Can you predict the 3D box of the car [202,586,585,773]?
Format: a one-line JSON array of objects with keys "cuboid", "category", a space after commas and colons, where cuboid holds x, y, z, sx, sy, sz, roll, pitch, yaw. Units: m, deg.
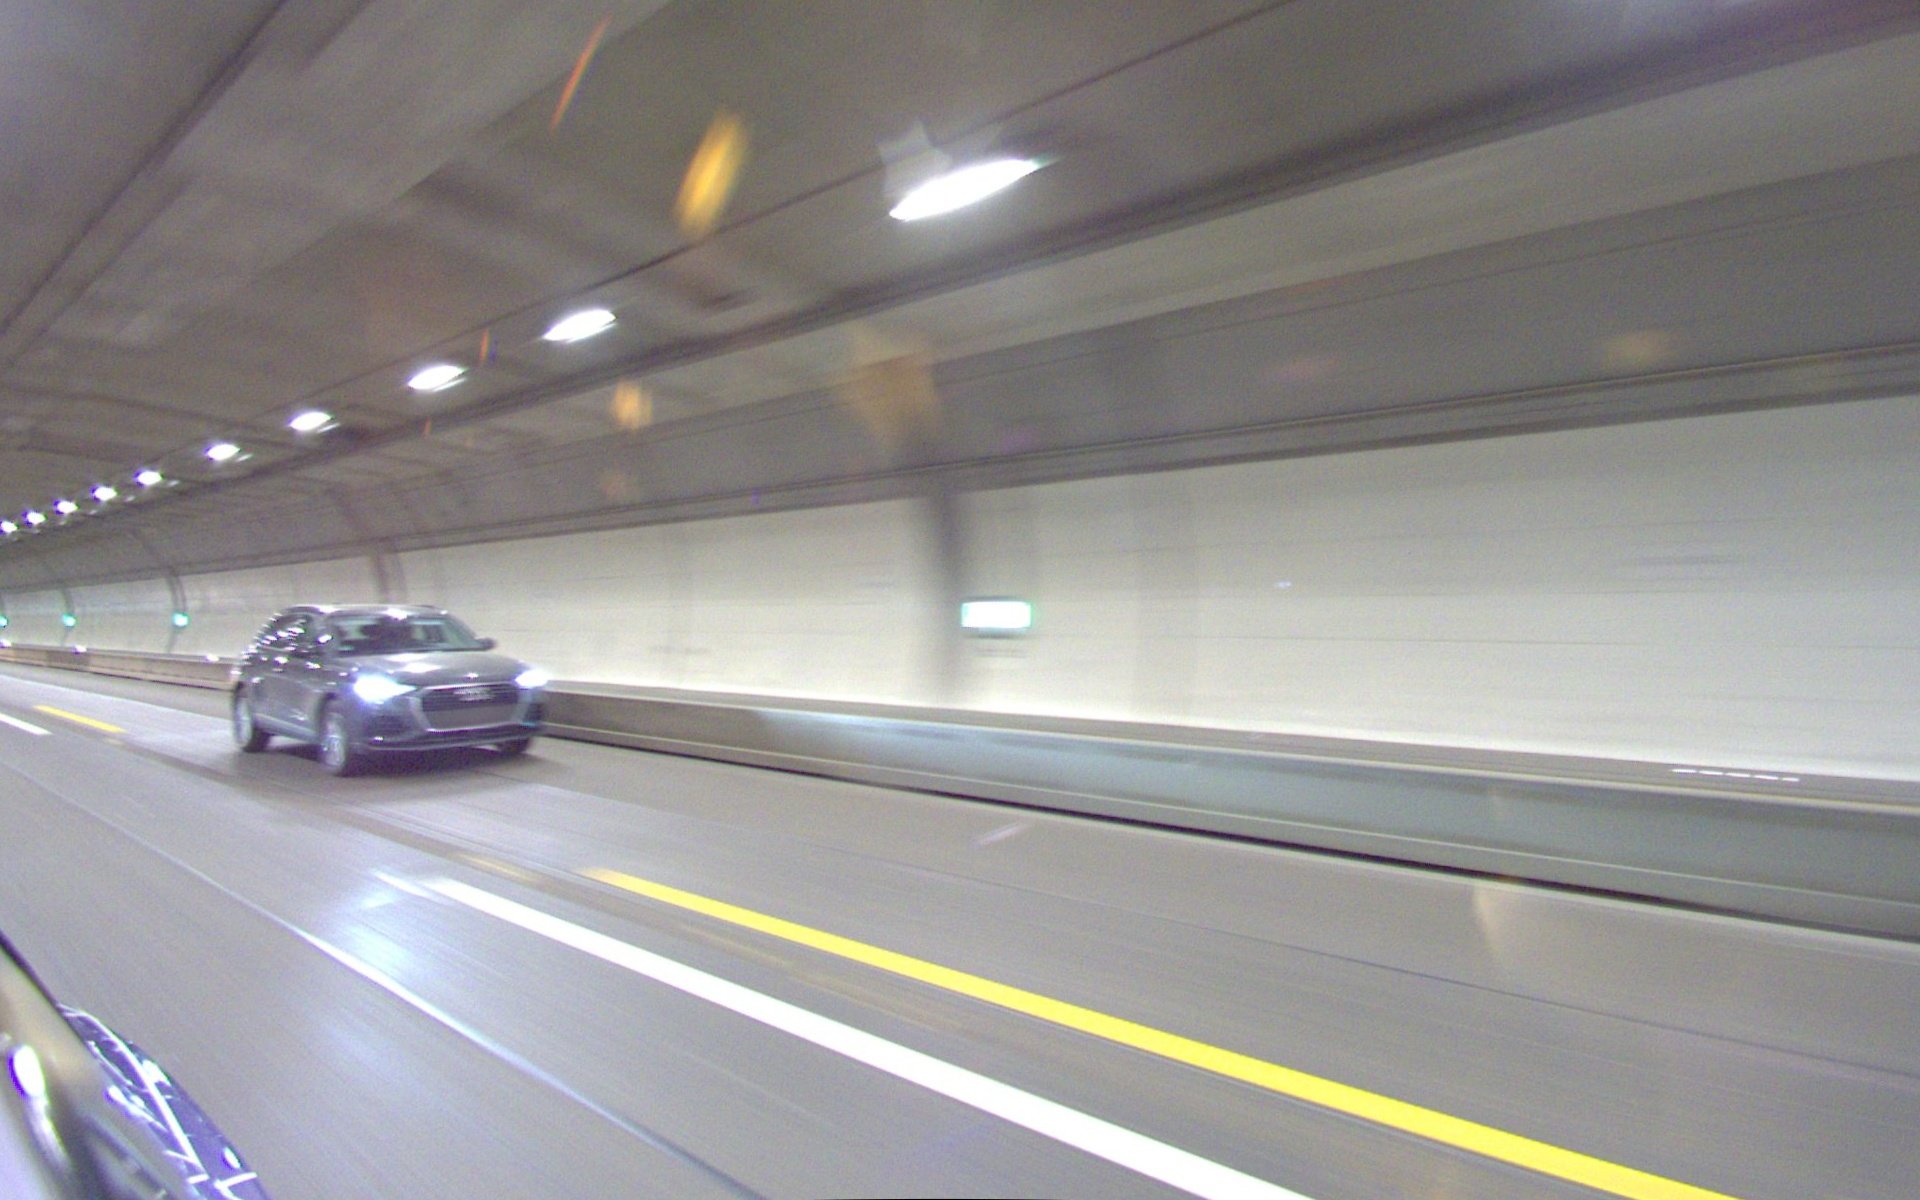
[{"cuboid": [-6.114, 0.683, 10.674, 4.738, 1.552, 1.974, -1, 0, 40], "category": "car"}]
